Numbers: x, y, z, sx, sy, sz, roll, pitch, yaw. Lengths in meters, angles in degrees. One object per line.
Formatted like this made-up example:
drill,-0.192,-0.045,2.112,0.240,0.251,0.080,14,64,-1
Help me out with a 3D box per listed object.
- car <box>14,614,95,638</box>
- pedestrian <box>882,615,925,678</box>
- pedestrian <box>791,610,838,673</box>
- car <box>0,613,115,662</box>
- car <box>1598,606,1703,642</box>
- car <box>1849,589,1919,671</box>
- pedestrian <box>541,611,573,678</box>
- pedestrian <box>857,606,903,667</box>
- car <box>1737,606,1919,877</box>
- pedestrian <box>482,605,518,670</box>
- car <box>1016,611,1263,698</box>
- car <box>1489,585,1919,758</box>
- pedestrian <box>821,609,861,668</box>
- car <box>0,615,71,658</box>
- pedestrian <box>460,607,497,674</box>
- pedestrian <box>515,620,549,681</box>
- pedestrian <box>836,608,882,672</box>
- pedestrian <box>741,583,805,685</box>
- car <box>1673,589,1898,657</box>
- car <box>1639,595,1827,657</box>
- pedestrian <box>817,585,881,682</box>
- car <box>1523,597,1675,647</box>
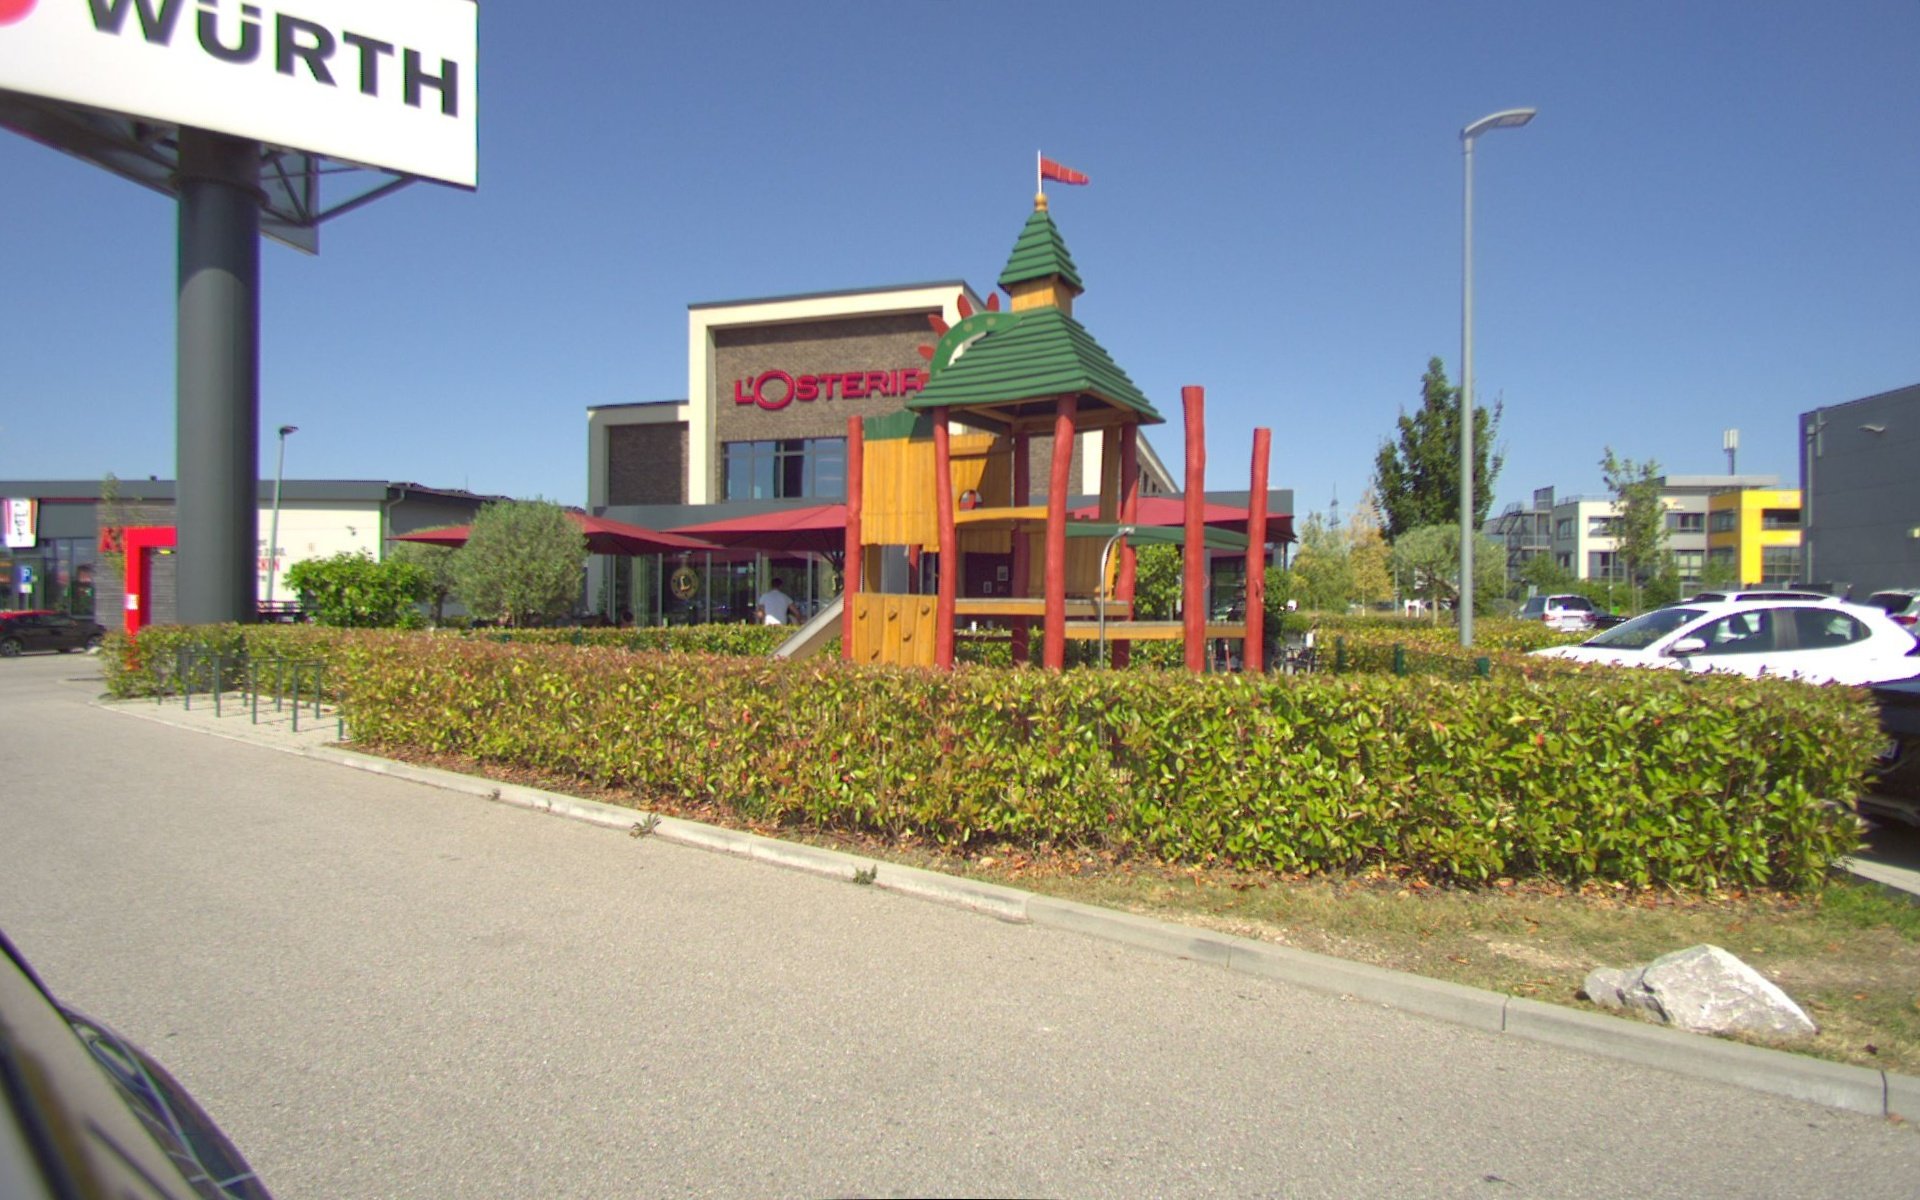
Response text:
car,-63.069,1.786,70.568,3.932,1.564,1.760,0,-1,-31
pedestrian,-1.011,0.824,18.190,0.543,1.098,0.572,-1,-1,33
pedestrian,-2.910,0.816,20.199,0.698,1.207,0.618,0,-1,-37
car,-31.137,1.234,34.049,1.725,1.518,3.889,-1,0,16
car,32.133,1.113,47.181,3.643,1.579,1.640,-1,-1,11
car,20.502,0.553,20.082,3.906,1.579,1.732,-1,-1,9
pedestrian,-8.493,0.920,21.330,0.474,1.377,0.652,-1,-1,-8
pedestrian,-1.635,0.739,20.636,0.699,1.207,0.617,0,-1,-43
car,7.054,0.693,5.320,4.322,1.373,1.865,-1,-1,6
pedestrian,-10.899,0.893,23.992,0.563,1.516,0.523,-1,-1,14
car,2.982,0.858,16.736,3.812,1.318,1.637,-1,-1,20
car,8.003,0.665,10.149,4.328,1.542,1.947,-1,-1,10
pedestrian,-2.480,0.789,21.166,0.660,1.207,0.708,-1,-1,9
car,-33.767,1.288,34.975,1.724,1.423,4.382,-1,0,14
pedestrian,-11.052,0.915,23.242,0.563,1.516,0.523,-1,-1,14
pedestrian,-8.689,1.017,20.554,0.474,1.194,0.652,-1,-1,-8
pedestrian,-1.959,0.769,19.677,0.613,1.207,0.704,-1,-1,25
pedestrian,-3.209,0.578,17.384,0.762,1.700,0.775,-2,-1,42
car,20.211,0.564,24.938,3.906,1.579,1.732,-1,-1,9
car,20.905,0.706,27.499,3.643,1.579,1.640,-1,-1,11
pedestrian,-1.915,0.571,17.509,0.762,1.627,0.775,-2,-1,42
car,21.490,0.739,34.181,3.906,1.579,1.732,-1,-1,9
